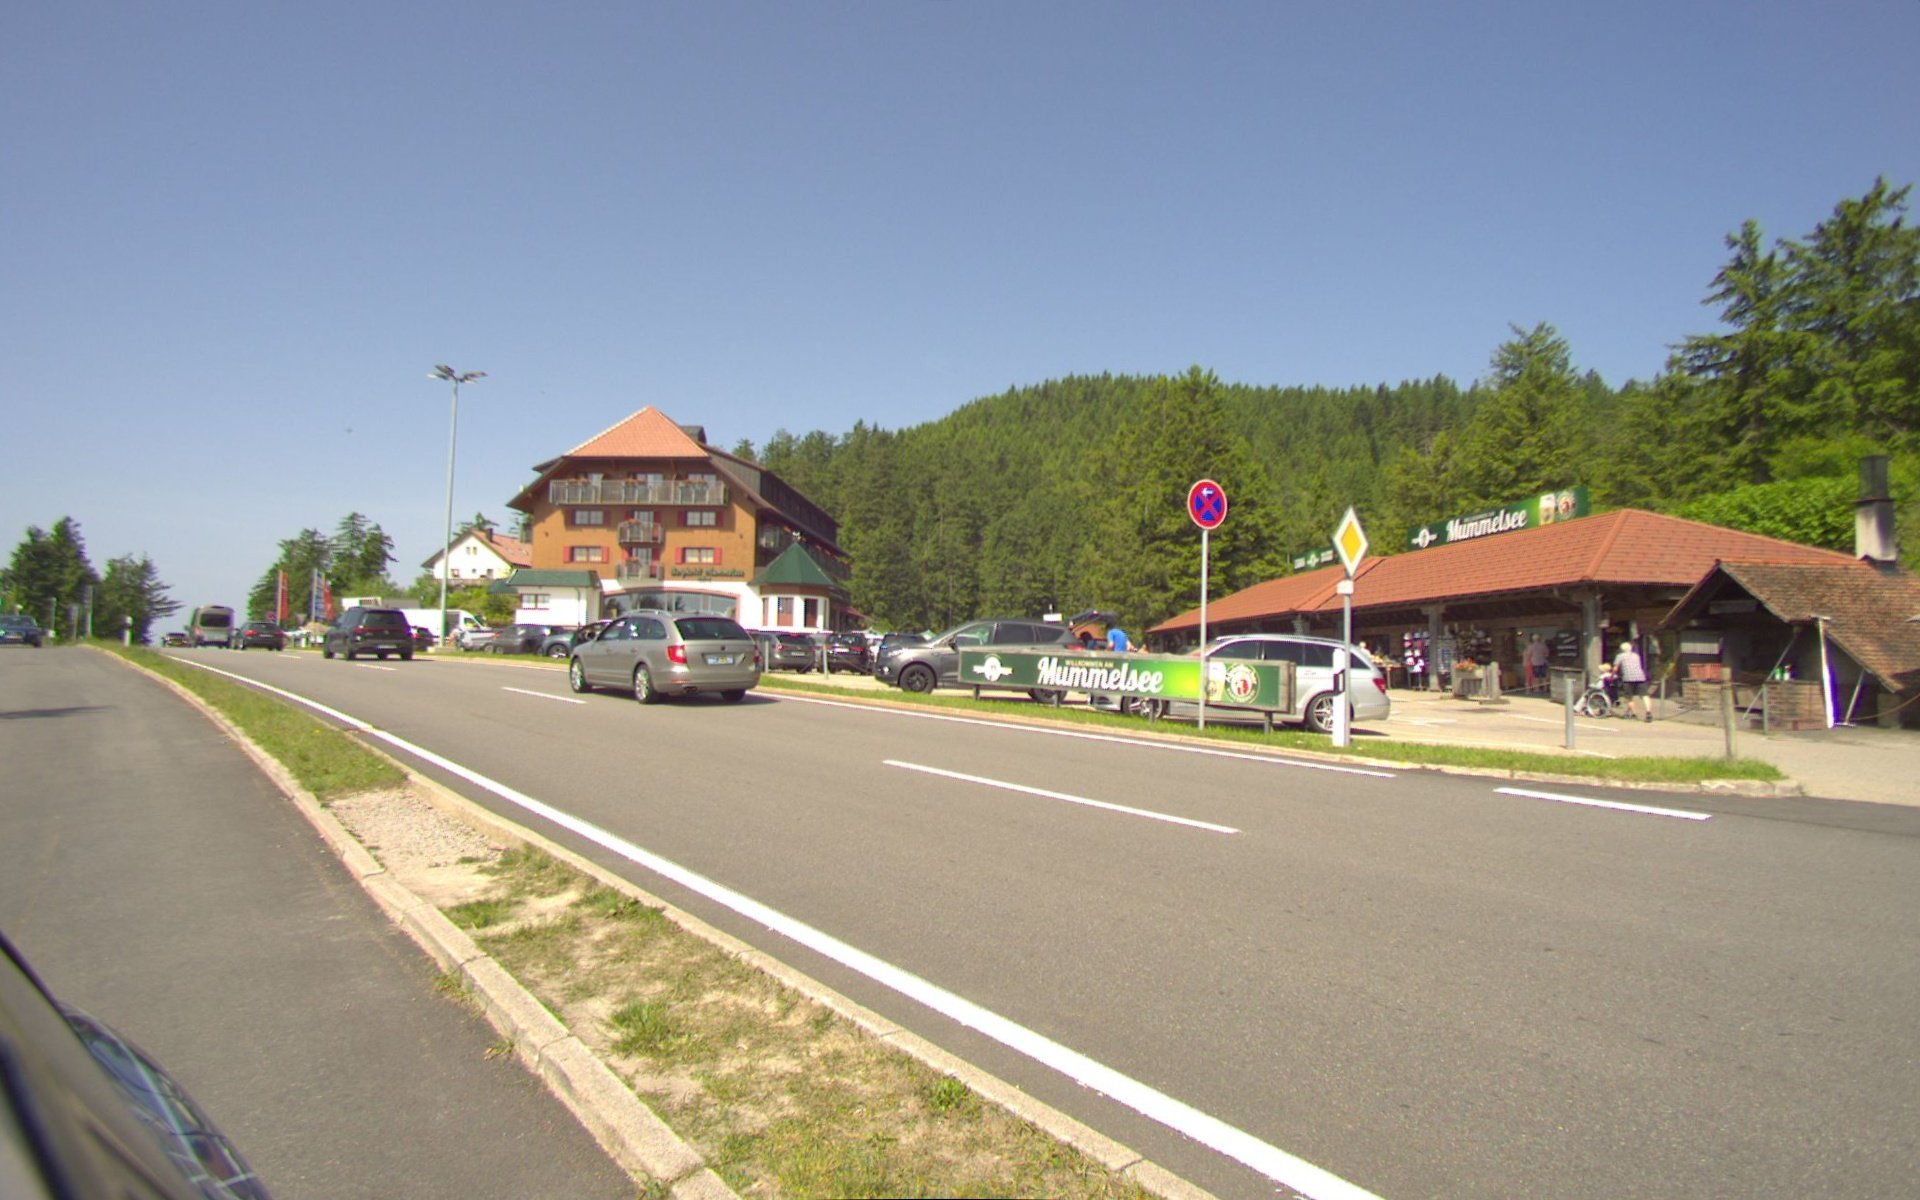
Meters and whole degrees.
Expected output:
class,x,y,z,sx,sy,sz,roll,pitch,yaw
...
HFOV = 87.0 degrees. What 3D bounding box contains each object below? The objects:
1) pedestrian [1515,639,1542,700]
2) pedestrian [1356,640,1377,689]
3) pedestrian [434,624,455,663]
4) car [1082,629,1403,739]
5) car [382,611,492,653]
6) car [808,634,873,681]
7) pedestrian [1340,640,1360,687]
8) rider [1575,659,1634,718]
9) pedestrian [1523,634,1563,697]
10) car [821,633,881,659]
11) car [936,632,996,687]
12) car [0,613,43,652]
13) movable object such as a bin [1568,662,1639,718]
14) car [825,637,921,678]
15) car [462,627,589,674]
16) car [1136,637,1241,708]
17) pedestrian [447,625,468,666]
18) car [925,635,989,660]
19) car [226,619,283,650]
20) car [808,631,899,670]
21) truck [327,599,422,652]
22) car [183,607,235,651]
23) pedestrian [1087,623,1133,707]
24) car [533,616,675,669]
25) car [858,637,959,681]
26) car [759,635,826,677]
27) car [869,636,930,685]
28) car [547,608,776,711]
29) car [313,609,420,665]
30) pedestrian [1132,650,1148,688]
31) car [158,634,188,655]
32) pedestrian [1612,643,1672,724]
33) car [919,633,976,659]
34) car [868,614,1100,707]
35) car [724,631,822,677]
class,x,y,z,sx,sy,sz,roll,pitch,yaw
pedestrian,16.765,2.032,29.850,0.556,1.750,0.662,-1,-3,45
pedestrian,14.043,2.213,34.964,0.500,1.668,0.472,1,-2,-8
pedestrian,-26.959,2.279,52.897,0.707,2.029,0.803,3,-3,-44
car,4.238,1.262,15.667,4.441,1.441,1.721,2,-2,1
car,-38.046,2.382,73.883,6.844,2.812,2.676,3,-3,-24
car,-4.496,2.173,38.618,1.800,1.641,4.091,2,-2,2
pedestrian,13.855,2.248,35.934,0.500,1.668,0.472,1,-2,-8
rider,14.717,2.011,23.134,0.830,1.284,0.906,1,-2,10
pedestrian,16.700,1.864,28.994,0.741,1.750,0.801,1,-2,10
car,-7.799,3.280,72.437,4.039,1.729,1.919,2,-2,1
car,0.199,1.995,34.520,1.894,1.729,4.093,2,-2,0
car,-41.779,1.410,44.668,1.848,1.627,3.917,4,-3,-43
movable object such as a bin,14.738,2.049,23.223,0.973,1.198,1.213,1,-2,10
car,-3.780,2.524,44.629,4.037,1.641,1.824,2,-2,0
car,-17.177,1.995,40.128,4.211,1.641,1.824,2,-2,0
car,6.099,1.902,27.433,1.894,1.729,4.093,2,-2,1
pedestrian,-25.266,2.287,50.892,0.707,2.029,0.803,3,-3,-44
car,-0.246,3.592,77.238,4.780,1.729,1.919,2,-2,1
car,-35.234,1.693,50.511,1.685,1.449,4.454,3,-3,-43
car,-4.952,2.348,47.464,4.037,1.641,1.824,2,-2,0
truck,-44.704,1.996,77.641,2.840,3.850,9.028,0,-2,-6
car,-49.414,1.895,66.534,1.987,2.772,5.923,4,-3,-42
pedestrian,3.024,1.311,20.486,0.735,1.648,0.847,2,-2,-3
car,-12.273,1.467,35.057,4.211,1.641,1.824,2,-2,0
car,-2.103,2.422,41.976,4.037,1.641,1.824,2,-2,0
car,-6.648,2.225,40.600,1.800,1.524,4.091,2,-2,2
car,-2.160,2.187,37.256,1.800,1.641,4.091,2,-2,2
car,-5.175,0.906,17.128,1.856,1.485,4.720,1,-1,-42
car,-19.048,1.162,32.374,1.969,1.660,4.572,3,-3,-43
pedestrian,9.689,3.700,54.418,0.682,2.029,0.752,1,-2,-3
car,-68.901,3.897,88.558,1.696,1.695,4.135,3,-3,-43
pedestrian,14.846,1.797,22.056,0.830,1.712,0.801,1,-2,10
car,-0.881,3.303,73.188,4.039,1.729,1.919,2,-2,1
car,0.444,1.214,20.621,4.487,1.668,1.722,2,-2,-1
car,-6.522,1.836,34.997,1.694,1.441,4.009,4,-3,-37
